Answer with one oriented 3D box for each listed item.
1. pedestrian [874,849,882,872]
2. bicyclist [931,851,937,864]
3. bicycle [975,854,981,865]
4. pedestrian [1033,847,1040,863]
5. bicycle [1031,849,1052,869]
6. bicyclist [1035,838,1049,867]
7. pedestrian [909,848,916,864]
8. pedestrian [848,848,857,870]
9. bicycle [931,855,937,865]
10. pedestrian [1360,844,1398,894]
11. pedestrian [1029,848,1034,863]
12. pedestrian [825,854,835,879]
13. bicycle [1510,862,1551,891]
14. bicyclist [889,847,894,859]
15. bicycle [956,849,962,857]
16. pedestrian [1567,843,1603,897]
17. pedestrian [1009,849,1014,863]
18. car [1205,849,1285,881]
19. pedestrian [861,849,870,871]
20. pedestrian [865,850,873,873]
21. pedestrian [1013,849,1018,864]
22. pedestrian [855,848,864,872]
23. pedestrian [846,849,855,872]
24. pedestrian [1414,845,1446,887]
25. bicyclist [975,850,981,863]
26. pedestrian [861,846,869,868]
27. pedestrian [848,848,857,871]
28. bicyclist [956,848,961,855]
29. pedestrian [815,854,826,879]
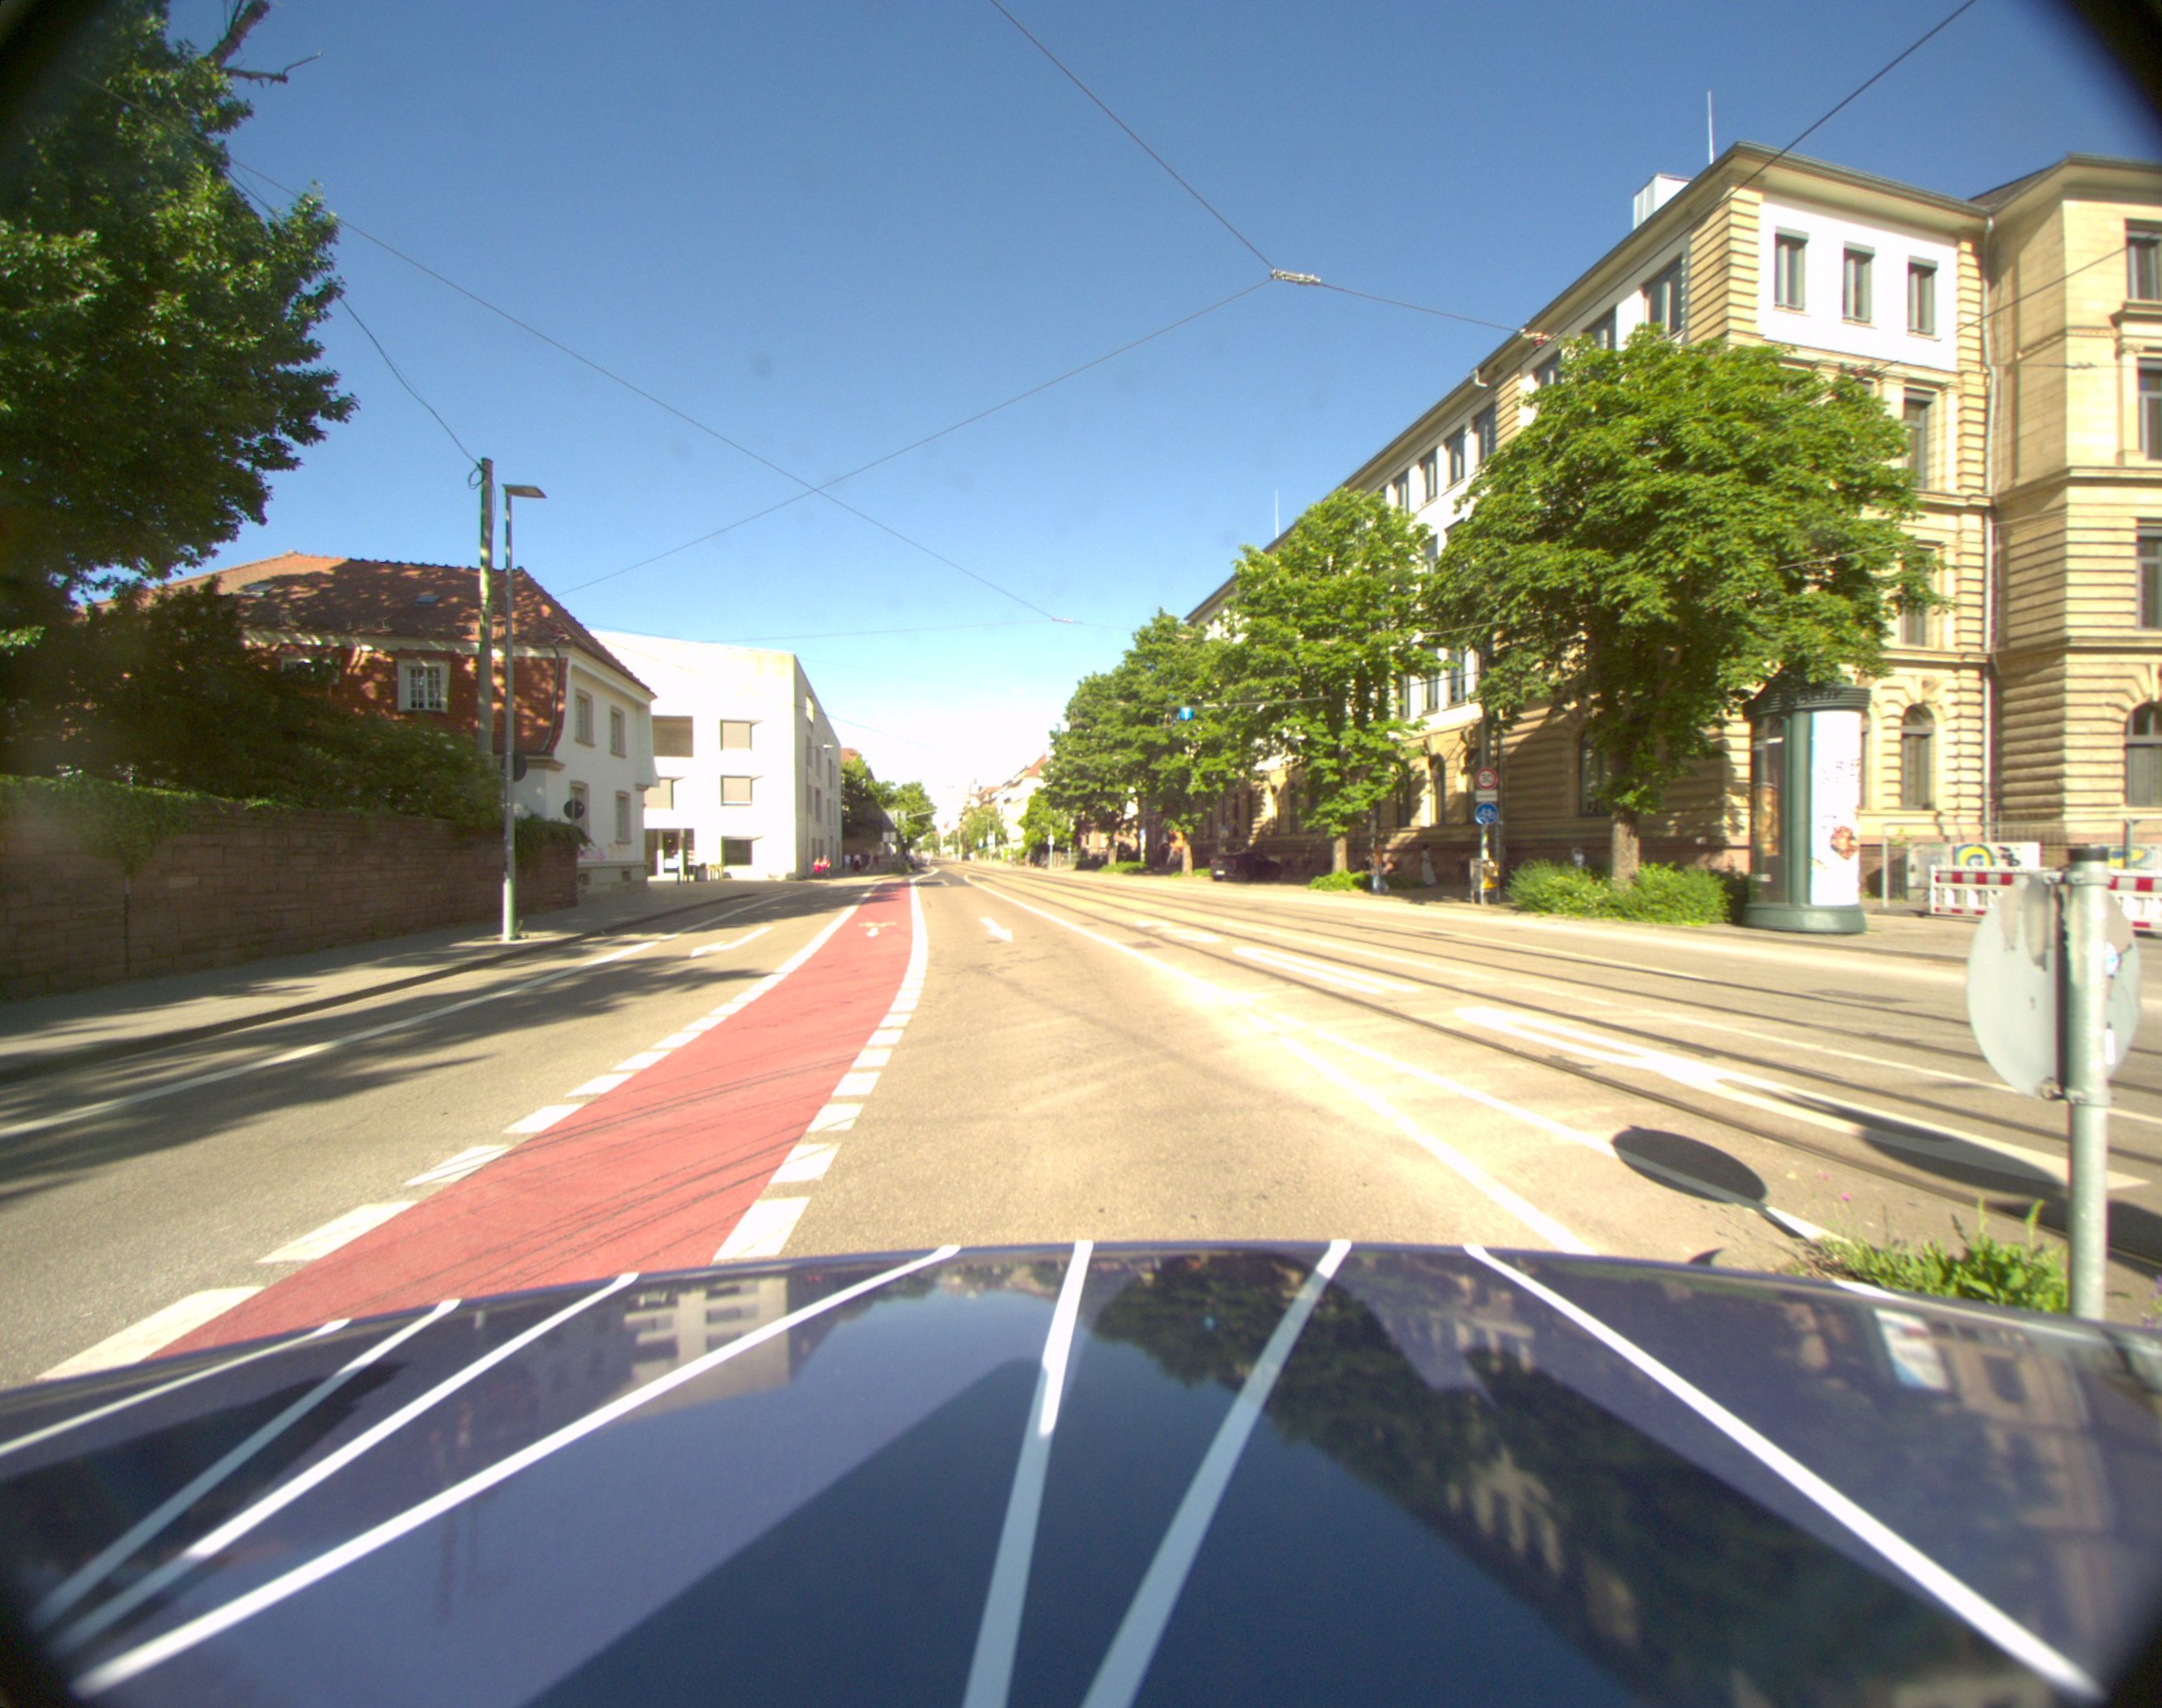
[{"bbox_3d":[-15.819,0.501,59.295,0.588,1.717,0.519,-1,1,-13],"label":"pedestrian"},{"bbox_3d":[-17.379,0.412,89.729,0.665,1.453,0.622,-2,2,-8],"label":"bicyclist"},{"bbox_3d":[-17.710,0.904,130.718,1.004,1.672,2.981,-2,2,-9],"label":"bicycle"},{"bbox_3d":[-5.124,0.130,87.215,0.729,1.845,0.653,0,1,-9],"label":"pedestrian"},{"bbox_3d":[-4.068,0.521,78.438,1.002,1.876,3.897,-1,2,13],"label":"bicycle"},{"bbox_3d":[-4.035,-0.151,78.661,1.002,2.959,1.475,-1,2,12],"label":"bicyclist"},{"bbox_3d":[-18.614,0.242,84.053,0.679,1.728,0.931,0,1,-10],"label":"pedestrian"},{"bbox_3d":[-18.700,0.391,62.206,0.588,1.795,0.545,-1,1,-13],"label":"pedestrian"},{"bbox_3d":[-17.371,0.708,89.753,0.665,1.146,1.670,-2,2,-8],"label":"bicycle"},{"bbox_3d":[10.268,0.536,26.179,0.772,1.658,1.033,1,-3,-11],"label":"pedestrian"},{"bbox_3d":[-6.051,0.203,93.033,0.579,1.845,0.653,0,1,-11],"label":"pedestrian"},{"bbox_3d":[-15.638,0.763,47.409,0.535,1.557,0.519,-1,1,-13],"label":"pedestrian"},{"bbox_3d":[15.276,0.751,25.843,0.398,0.898,1.359,-2,2,-10],"label":"bicycle"},{"bbox_3d":[-34.978,-0.262,140.313,0.813,2.194,0.983,-2,2,-10],"label":"bicyclist"},{"bbox_3d":[-27.598,-0.253,171.653,1.004,1.672,2.981,-2,2,-12],"label":"bicycle"},{"bbox_3d":[14.592,0.458,22.022,0.579,1.553,0.653,0,1,-12],"label":"pedestrian"},{"bbox_3d":[-9.265,0.228,100.608,0.579,1.845,0.684,0,1,-11],"label":"pedestrian"},{"bbox_3d":[8.565,0.531,39.516,4.118,1.565,1.916,-1,1,-39],"label":"car"},{"bbox_3d":[-17.303,0.462,61.014,0.588,1.795,0.582,-1,1,-13],"label":"pedestrian"},{"bbox_3d":[-16.455,0.569,58.972,0.588,1.795,0.519,-1,1,-13],"label":"pedestrian"},{"bbox_3d":[-8.184,0.332,95.433,0.579,1.845,0.684,0,1,-11],"label":"pedestrian"},{"bbox_3d":[-17.133,0.468,58.796,0.588,1.795,0.545,-1,1,-13],"label":"pedestrian"},{"bbox_3d":[-17.789,0.491,58.622,0.588,1.795,0.545,-1,1,-13],"label":"pedestrian"},{"bbox_3d":[13.379,0.451,29.135,0.673,1.558,0.857,-5,2,-13],"label":"pedestrian"},{"bbox_3d":[-17.713,0.387,130.656,1.004,2.255,1.019,-2,2,-9],"label":"bicyclist"},{"bbox_3d":[-17.763,0.226,62.431,0.588,1.795,0.545,-1,1,-13],"label":"pedestrian"},{"bbox_3d":[-18.164,0.449,60.472,0.588,1.795,0.582,-1,1,-13],"label":"pedestrian"},{"bbox_3d":[-27.609,-0.550,171.636,1.004,1.712,0.983,-2,2,-12],"label":"bicyclist"},{"bbox_3d":[-16.223,0.778,47.334,0.535,1.557,0.519,-1,1,-13],"label":"pedestrian"}]
